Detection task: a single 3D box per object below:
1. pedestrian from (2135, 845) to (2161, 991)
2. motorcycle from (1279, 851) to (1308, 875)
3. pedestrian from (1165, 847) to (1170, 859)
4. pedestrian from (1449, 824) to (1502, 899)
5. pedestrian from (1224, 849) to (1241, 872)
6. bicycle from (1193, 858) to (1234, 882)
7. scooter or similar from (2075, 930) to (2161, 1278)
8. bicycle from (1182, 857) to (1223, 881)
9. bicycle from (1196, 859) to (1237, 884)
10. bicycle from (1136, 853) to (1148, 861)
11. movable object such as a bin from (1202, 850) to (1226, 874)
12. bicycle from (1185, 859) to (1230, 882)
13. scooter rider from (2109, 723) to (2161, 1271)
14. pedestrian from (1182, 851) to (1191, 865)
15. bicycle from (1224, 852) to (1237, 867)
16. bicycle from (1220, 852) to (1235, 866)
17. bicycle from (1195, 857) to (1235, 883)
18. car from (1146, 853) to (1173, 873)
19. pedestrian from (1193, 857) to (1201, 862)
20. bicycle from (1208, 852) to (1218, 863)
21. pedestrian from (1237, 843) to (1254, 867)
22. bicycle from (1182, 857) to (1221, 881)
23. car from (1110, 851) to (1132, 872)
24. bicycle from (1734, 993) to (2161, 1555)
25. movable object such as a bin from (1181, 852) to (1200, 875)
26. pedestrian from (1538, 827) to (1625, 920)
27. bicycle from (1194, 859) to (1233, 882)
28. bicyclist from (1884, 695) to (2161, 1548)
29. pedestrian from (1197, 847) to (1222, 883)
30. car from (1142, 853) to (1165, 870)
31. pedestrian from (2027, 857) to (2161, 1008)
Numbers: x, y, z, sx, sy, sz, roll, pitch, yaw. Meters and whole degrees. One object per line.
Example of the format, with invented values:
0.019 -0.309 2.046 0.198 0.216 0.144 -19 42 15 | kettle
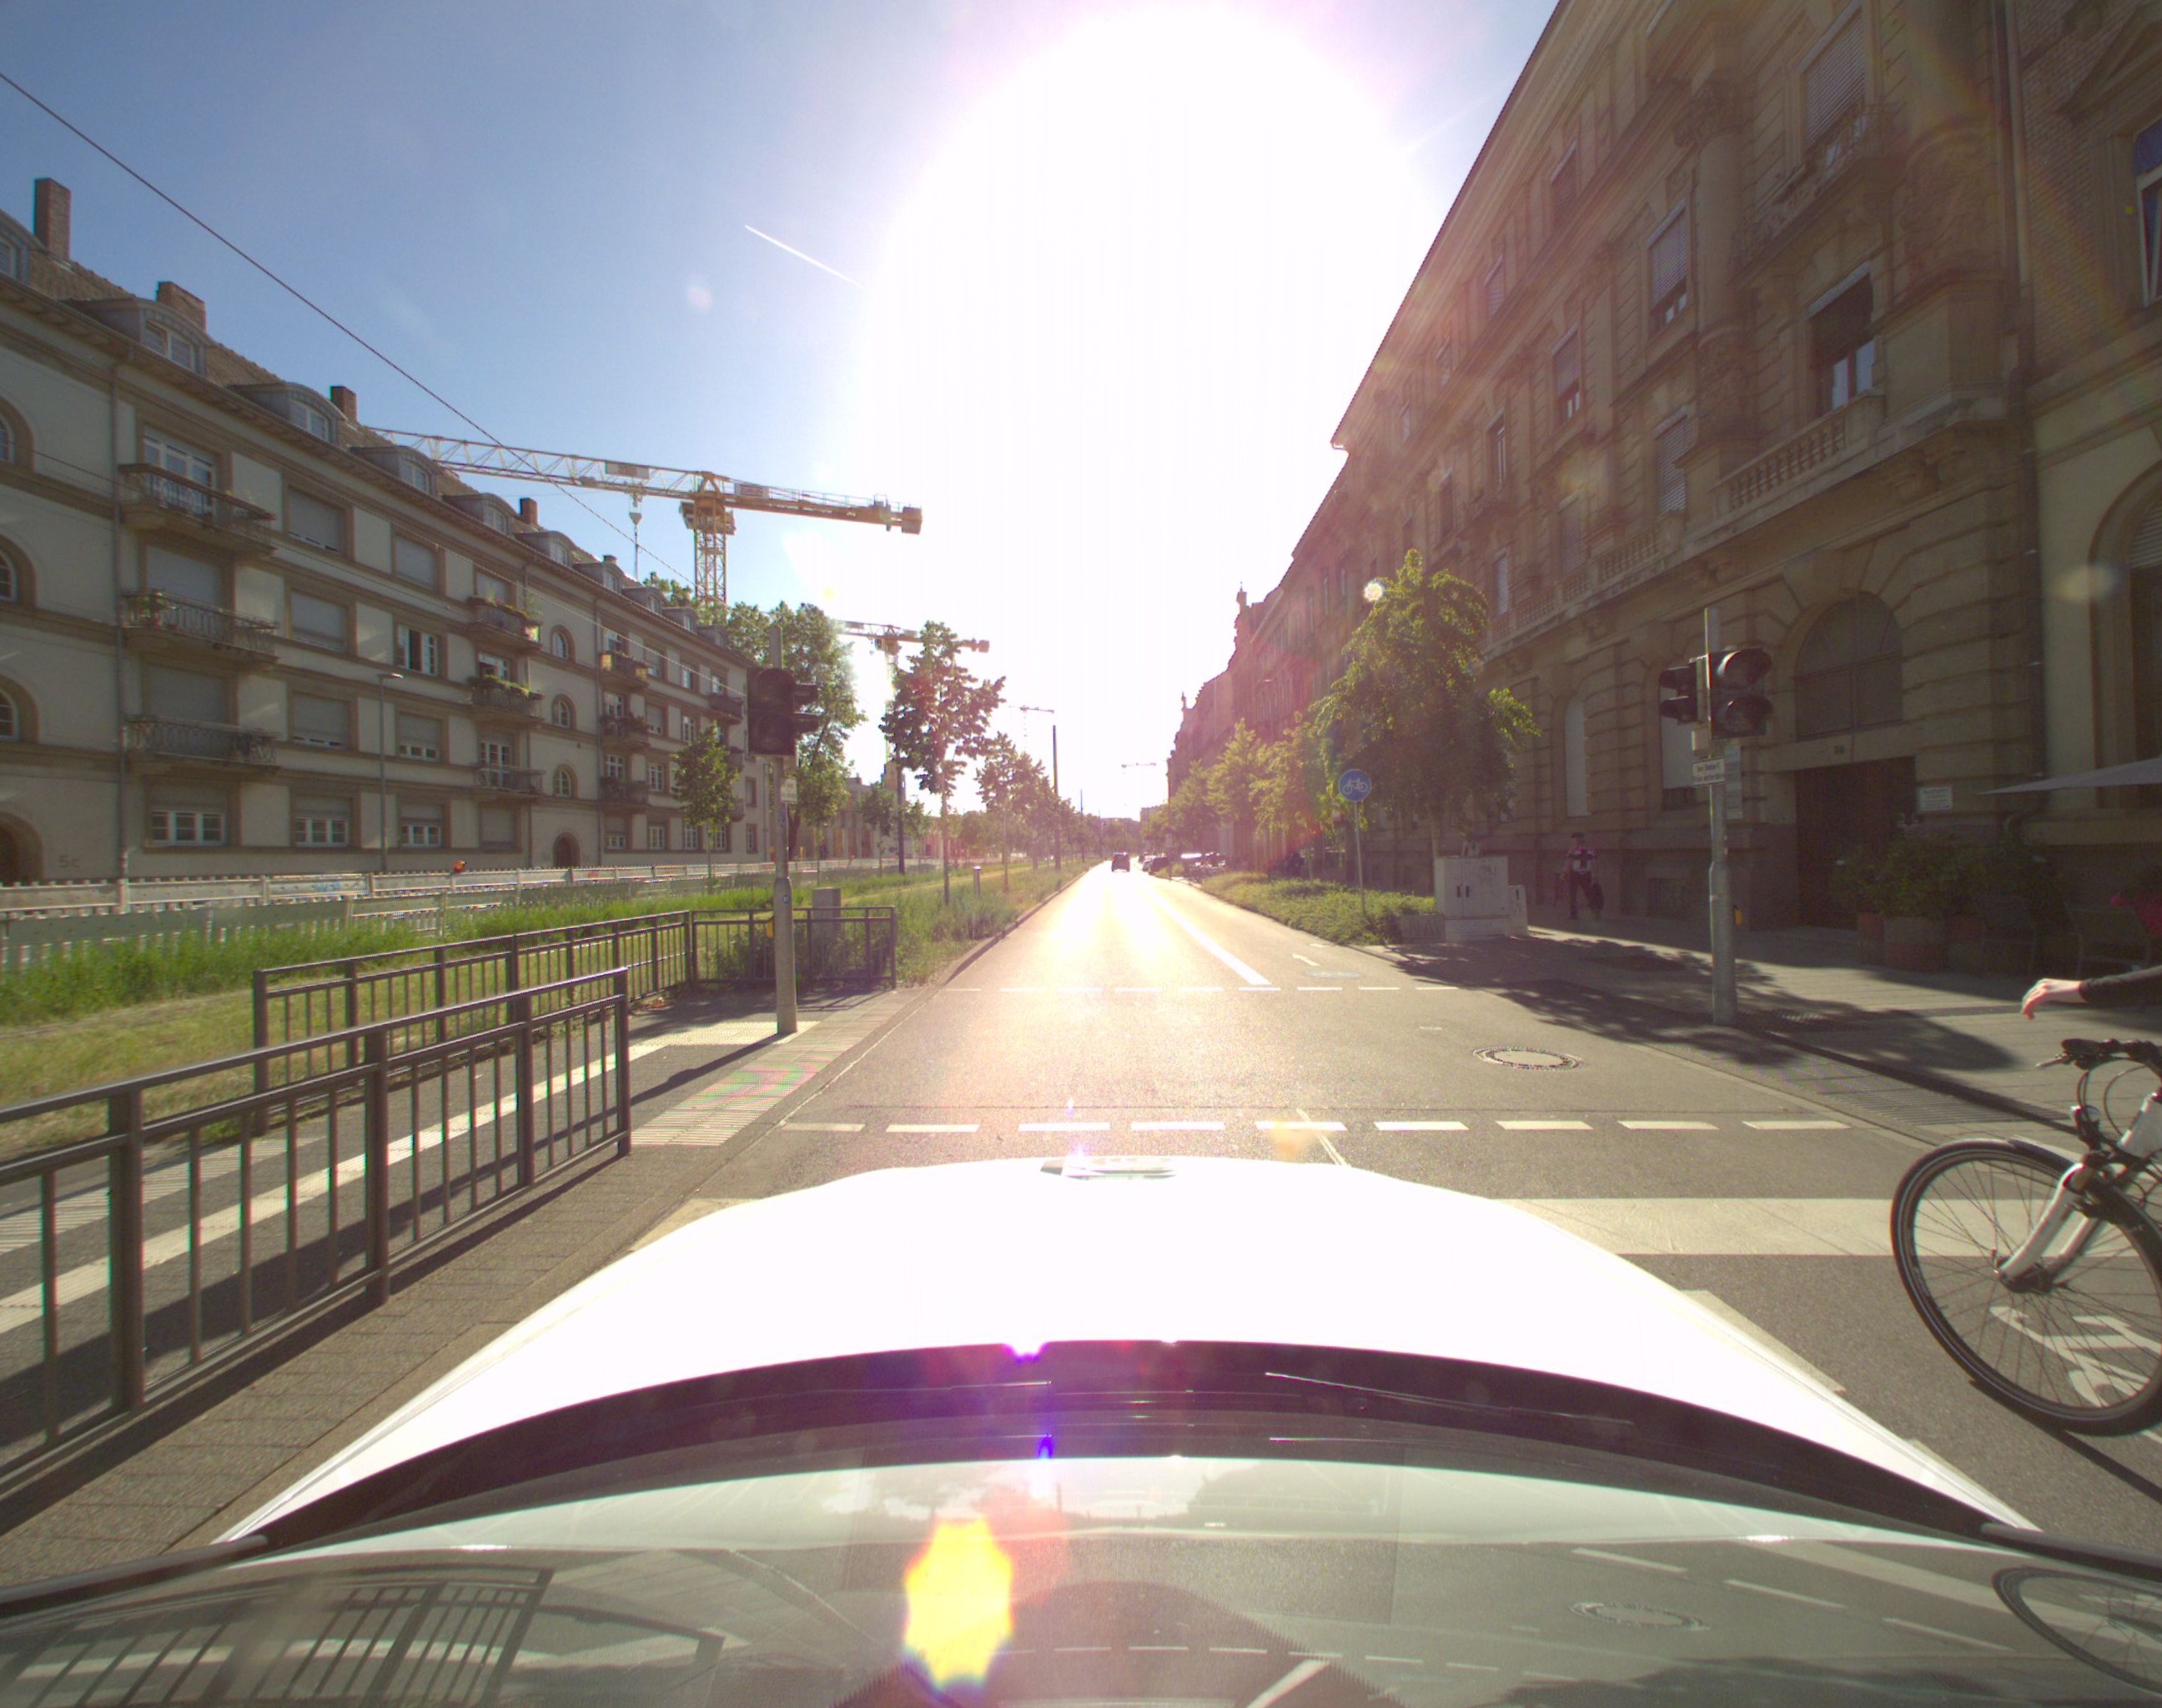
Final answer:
9.864 0.553 6.881 0.722 1.282 0.888 -2 -1 1 | pedestrian
11.526 0.483 44.233 0.862 1.266 2.983 0 -1 2 | motorcycle
14.545 -0.126 136.608 0.814 2.014 1.046 0 -3 2 | pedestrian
10.632 0.202 21.975 0.885 1.920 1.100 -3 -1 7 | pedestrian
10.495 0.429 56.410 0.947 1.566 1.080 -2 1 1 | pedestrian
6.728 0.815 41.406 1.971 1.108 0.435 -3 -1 -1 | bicycle
4.024 0.863 2.451 0.644 1.158 1.149 0 0 -4 | scooter or similar
6.583 0.808 44.005 2.040 1.107 0.610 -4 -1 -4 | bicycle
6.578 0.847 39.591 1.887 1.108 0.517 -3 -1 -4 | bicycle
10.290 0.521 137.594 1.875 1.233 0.499 -4 -1 -4 | bicycle
8.930 0.564 54.786 1.368 1.495 1.750 -4 -1 3 | movable object such as a bin
6.622 0.855 42.574 2.287 1.102 0.484 -3 0 -13 | bicycle
4.022 0.486 2.473 0.659 1.866 0.897 0 0 -3 | scooter rider
12.993 0.543 100.584 0.992 1.731 0.866 0 -1 1 | pedestrian
12.781 0.448 69.674 0.745 1.201 1.802 -3 -1 2 | bicycle
13.072 0.442 72.735 0.873 1.105 2.181 -4 0 -1 | bicycle
6.568 0.792 39.947 1.860 1.179 0.373 -2 -1 -1 | bicycle
6.473 0.778 67.559 1.760 1.477 4.447 -4 -1 -1 | car
14.351 0.639 100.684 0.770 0.553 2.008 -2 0 2 | pedestrian
13.560 0.346 83.867 0.718 1.090 2.200 -3 0 2 | bicycle
11.359 0.068 56.285 0.967 1.639 0.993 -3 1 2 | pedestrian
6.592 0.815 44.413 1.970 1.124 0.481 -5 1 -4 | bicycle
3.909 0.714 80.978 1.987 2.014 3.999 0 -1 0 | car
2.659 0.989 1.810 0.722 1.006 1.948 0 0 -6 | bicycle
7.334 0.630 54.651 1.264 1.463 1.647 0 2 7 | movable object such as a bin
9.779 0.371 15.962 0.966 1.692 1.114 -3 -1 2 | pedestrian
6.673 0.846 41.063 1.811 1.056 0.571 -3 -1 -4 | bicycle
2.661 0.569 1.772 0.722 1.817 1.088 0 0 -7 | bicyclist
6.507 0.568 41.197 0.838 1.735 0.908 -5 0 31 | pedestrian
7.076 0.734 80.262 1.944 1.495 5.108 -3 0 2 | car
8.950 0.631 6.939 0.715 1.183 0.881 -2 -1 1 | pedestrian
